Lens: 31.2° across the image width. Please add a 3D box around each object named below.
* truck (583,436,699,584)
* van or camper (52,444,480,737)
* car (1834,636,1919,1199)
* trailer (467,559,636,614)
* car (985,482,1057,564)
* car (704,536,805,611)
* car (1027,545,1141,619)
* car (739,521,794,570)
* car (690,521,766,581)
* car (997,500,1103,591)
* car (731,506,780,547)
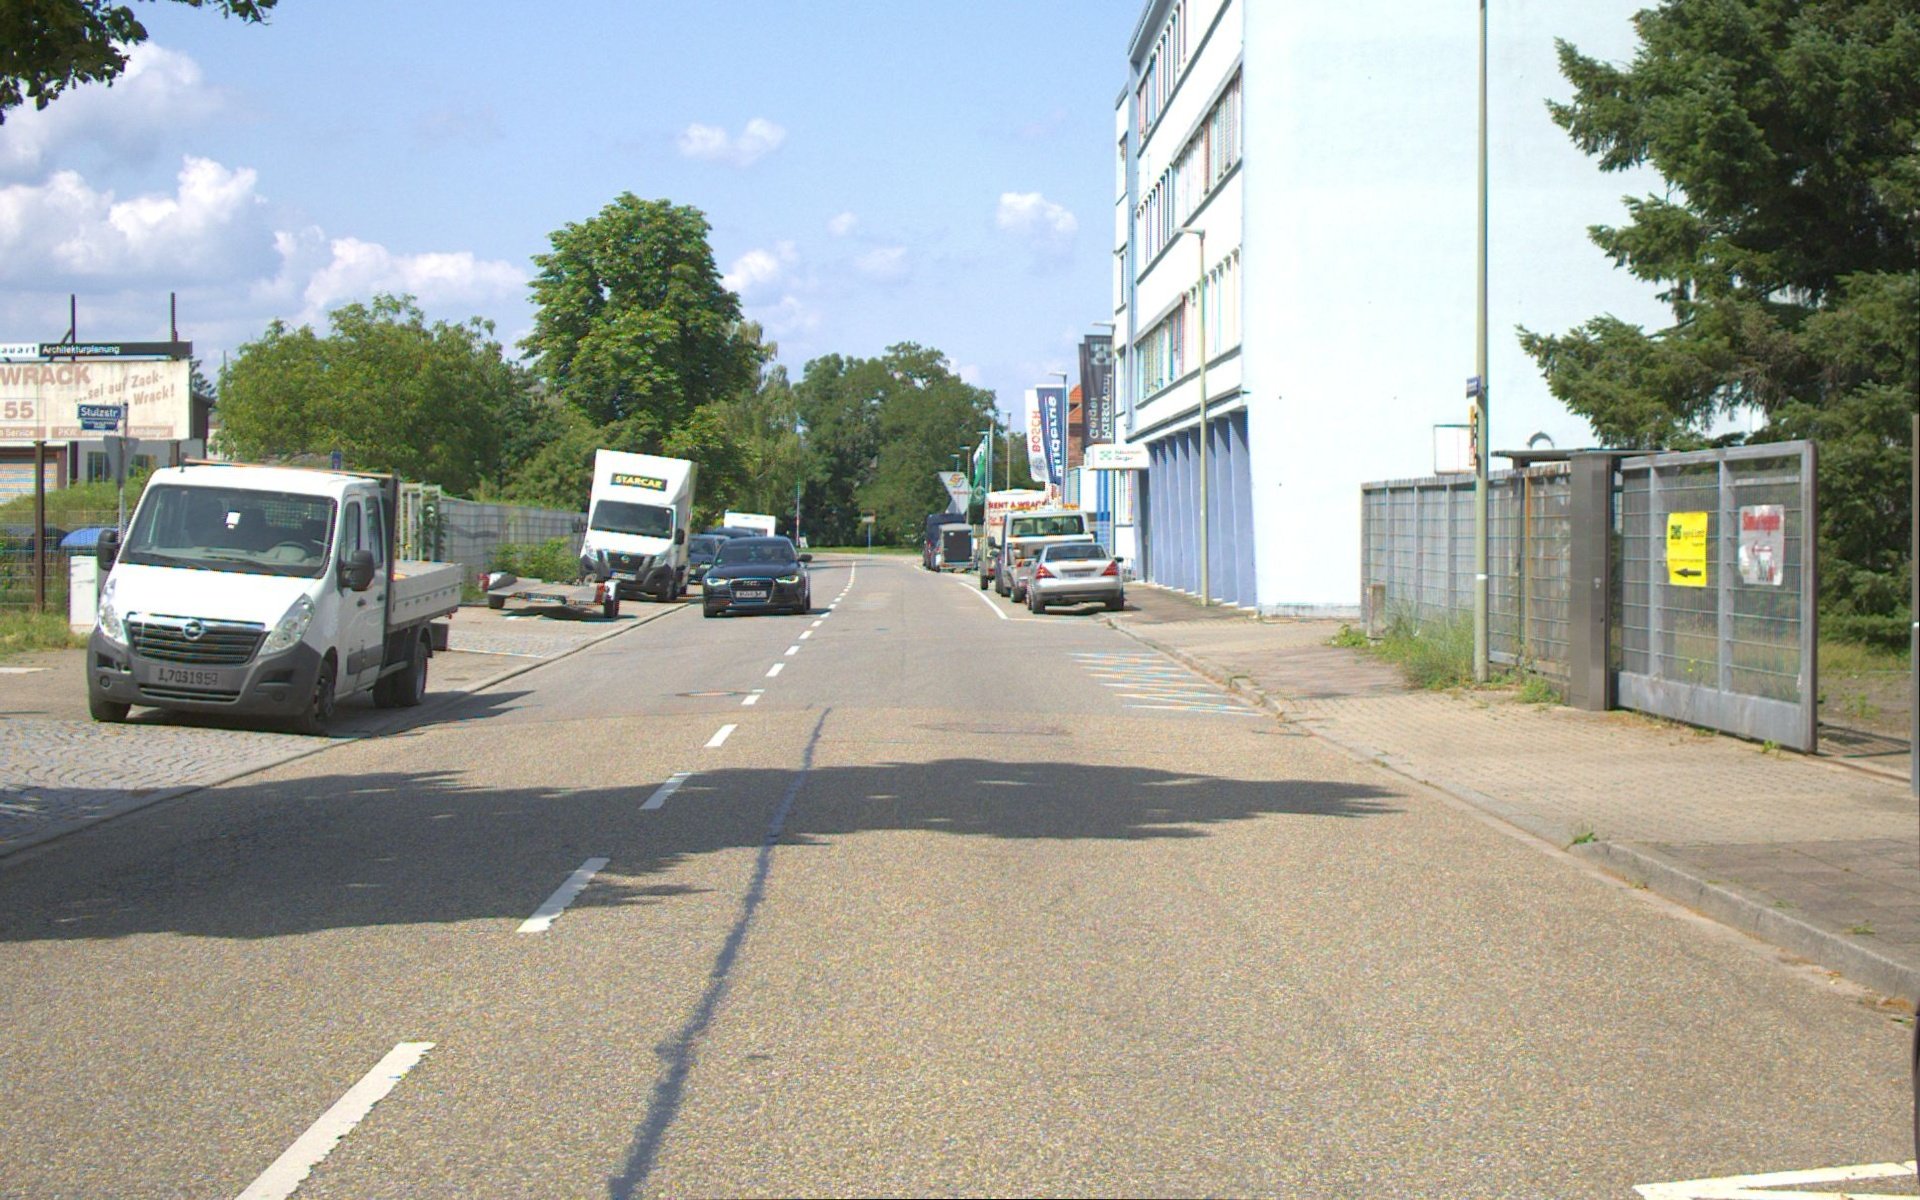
[{"bbox_3d":[-7.043,-1.986,76.485,2.029,3.143,6.500,0,1,-1],"label":"truck"},{"bbox_3d":[-6.287,-0.167,32.304,2.174,2.405,7.697,0,1,2],"label":"van or camper"},{"bbox_3d":[2.866,0.804,5.967,1.629,1.349,3.924,0,1,-1],"label":"car"},{"bbox_3d":[-7.350,-0.268,62.409,2.417,0.811,5.537,2,1,0],"label":"trailer"},{"bbox_3d":[1.556,-1.998,88.954,1.707,2.082,4.000,0,1,-1],"label":"car"},{"bbox_3d":[-3.781,-0.509,63.801,1.654,1.320,4.417,0,1,-1],"label":"car"},{"bbox_3d":[2.296,-0.360,64.664,1.928,1.306,4.000,0,1,-1],"label":"car"},{"bbox_3d":[-6.663,-1.890,118.789,1.713,1.645,4.000,0,1,-1],"label":"car"},{"bbox_3d":[-6.671,-1.432,99.133,1.993,1.678,4.000,0,1,-1],"label":"car"},{"bbox_3d":[2.006,-1.261,78.516,2.216,2.007,5.485,0,1,-1],"label":"car"},{"bbox_3d":[-9.184,-3.318,154.802,1.993,1.809,4.000,0,1,-1],"label":"car"}]
